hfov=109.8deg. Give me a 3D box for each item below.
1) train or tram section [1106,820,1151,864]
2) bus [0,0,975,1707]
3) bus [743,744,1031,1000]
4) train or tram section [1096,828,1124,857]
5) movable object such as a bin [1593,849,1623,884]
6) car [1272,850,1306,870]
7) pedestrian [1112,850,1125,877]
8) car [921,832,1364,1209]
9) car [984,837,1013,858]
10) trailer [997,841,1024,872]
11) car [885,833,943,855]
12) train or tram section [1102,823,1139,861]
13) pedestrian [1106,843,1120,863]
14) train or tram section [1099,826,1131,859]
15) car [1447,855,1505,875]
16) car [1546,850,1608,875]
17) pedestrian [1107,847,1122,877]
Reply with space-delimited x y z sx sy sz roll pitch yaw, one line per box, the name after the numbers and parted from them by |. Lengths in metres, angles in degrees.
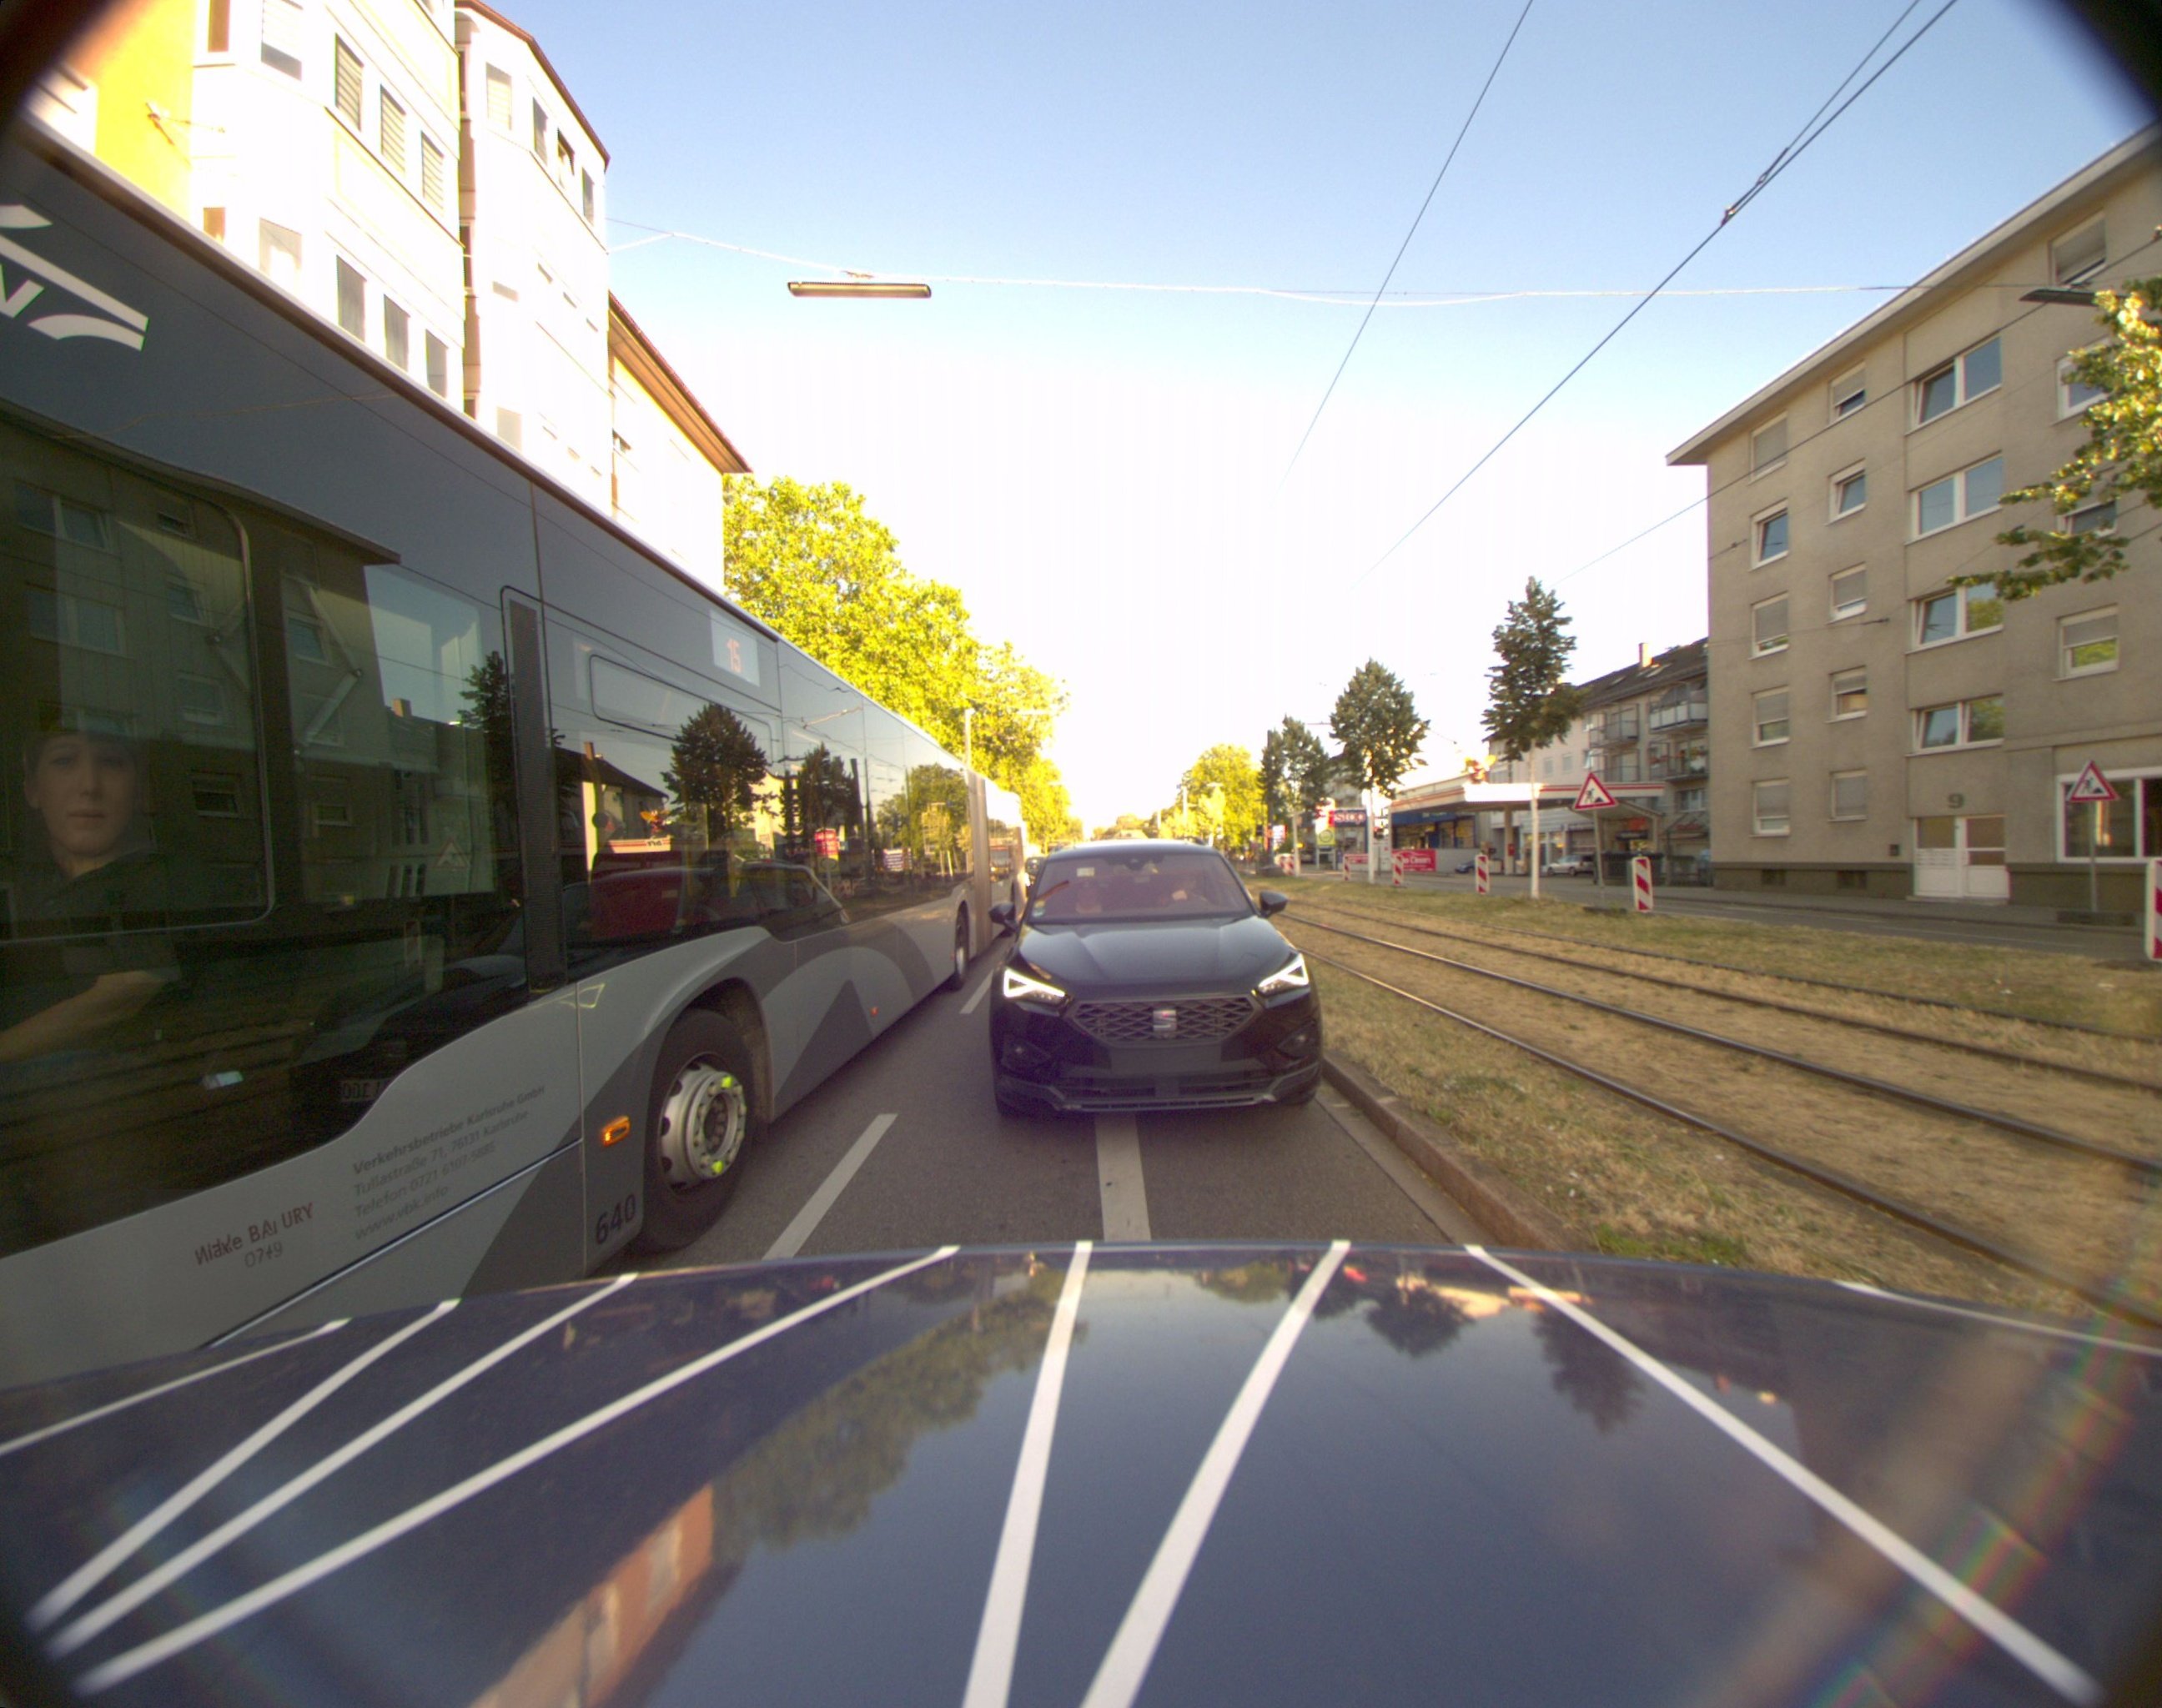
3.954 -1.016 65.583 3.043 3.497 10.094 0 1 -1 | train or tram section
-2.787 0.238 4.821 2.745 3.038 9.131 -2 0 1 | bus
-2.669 0.219 13.759 2.745 3.038 8.853 -2 0 1 | bus
3.584 -1.396 95.913 3.043 3.497 10.094 0 1 -1 | train or tram section
21.310 0.491 30.727 0.665 1.392 0.749 0 1 -1 | movable object such as a bin
16.454 0.441 60.253 1.816 1.503 3.829 0 1 3 | car
2.426 0.586 49.053 0.755 1.737 0.860 -1 1 -3 | pedestrian
0.304 0.748 5.448 1.910 1.606 4.085 -3 0 1 | car
-6.477 -0.484 59.965 1.800 1.621 4.000 0 0 0 | car
-6.118 0.198 66.578 1.890 2.573 4.650 -1 0 1 | trailer
-13.244 -0.771 60.525 4.122 1.541 1.803 -3 0 2 | car
3.823 -1.147 75.675 3.043 3.497 10.094 0 1 -1 | train or tram section
2.596 -0.094 61.451 0.918 1.541 0.788 -2 1 -8 | pedestrian
3.708 -1.273 85.785 3.043 3.497 10.094 0 1 -1 | train or tram section
32.525 0.897 62.624 3.803 1.514 1.818 -1 0 3 | car
33.718 0.564 51.748 1.816 1.514 3.829 -3 1 2 | car
2.104 0.506 47.989 0.860 1.921 0.755 -1 1 -2 | pedestrian
